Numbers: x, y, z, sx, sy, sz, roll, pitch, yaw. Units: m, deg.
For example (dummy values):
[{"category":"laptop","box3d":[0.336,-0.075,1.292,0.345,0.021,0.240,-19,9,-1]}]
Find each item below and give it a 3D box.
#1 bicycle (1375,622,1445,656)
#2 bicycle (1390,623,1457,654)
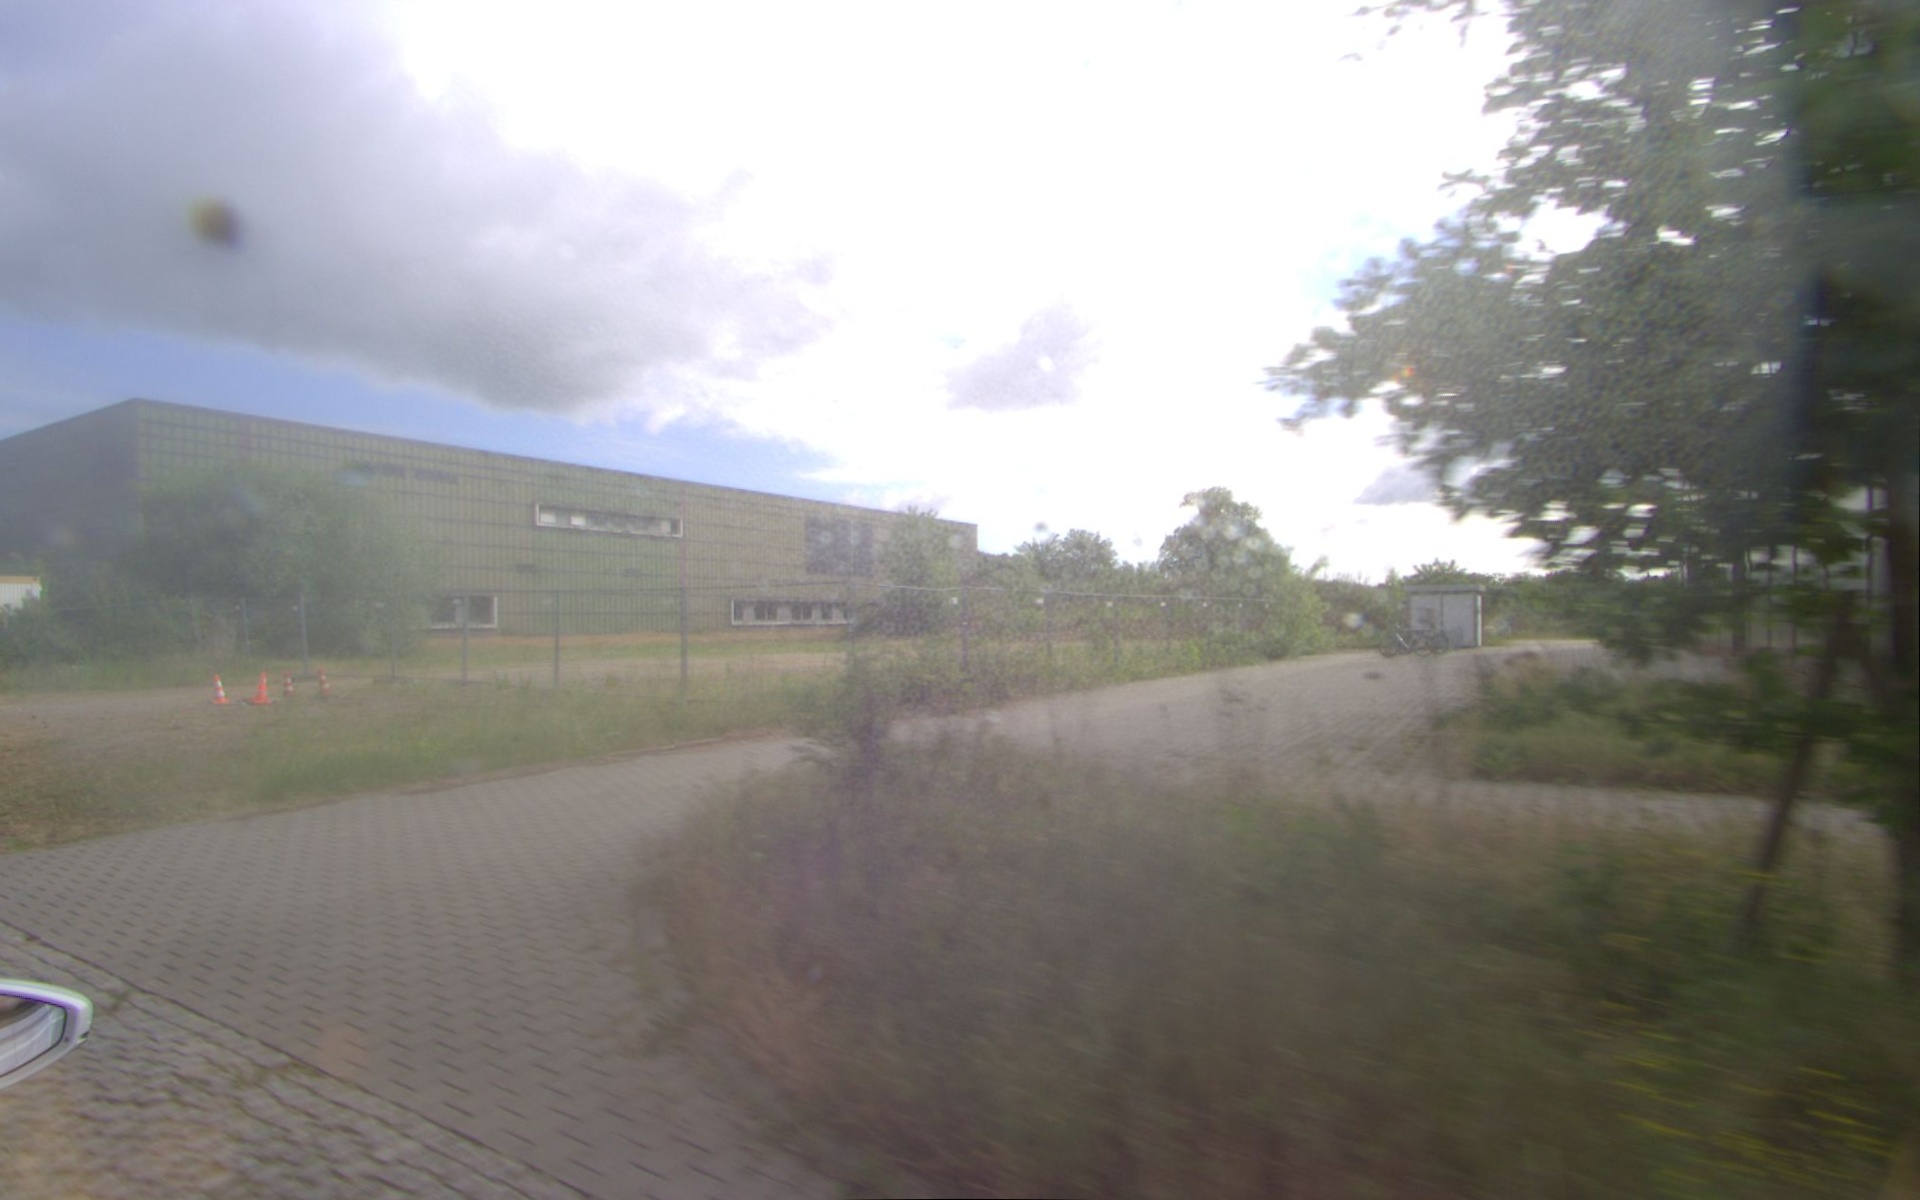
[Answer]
[{"category":"bicycle","box3d":[14.541,1.262,32.368,1.962,1.038,0.831,-2,-1,35]},{"category":"bicycle","box3d":[15.772,1.302,34.081,1.962,1.038,0.831,-2,-1,35]}]
